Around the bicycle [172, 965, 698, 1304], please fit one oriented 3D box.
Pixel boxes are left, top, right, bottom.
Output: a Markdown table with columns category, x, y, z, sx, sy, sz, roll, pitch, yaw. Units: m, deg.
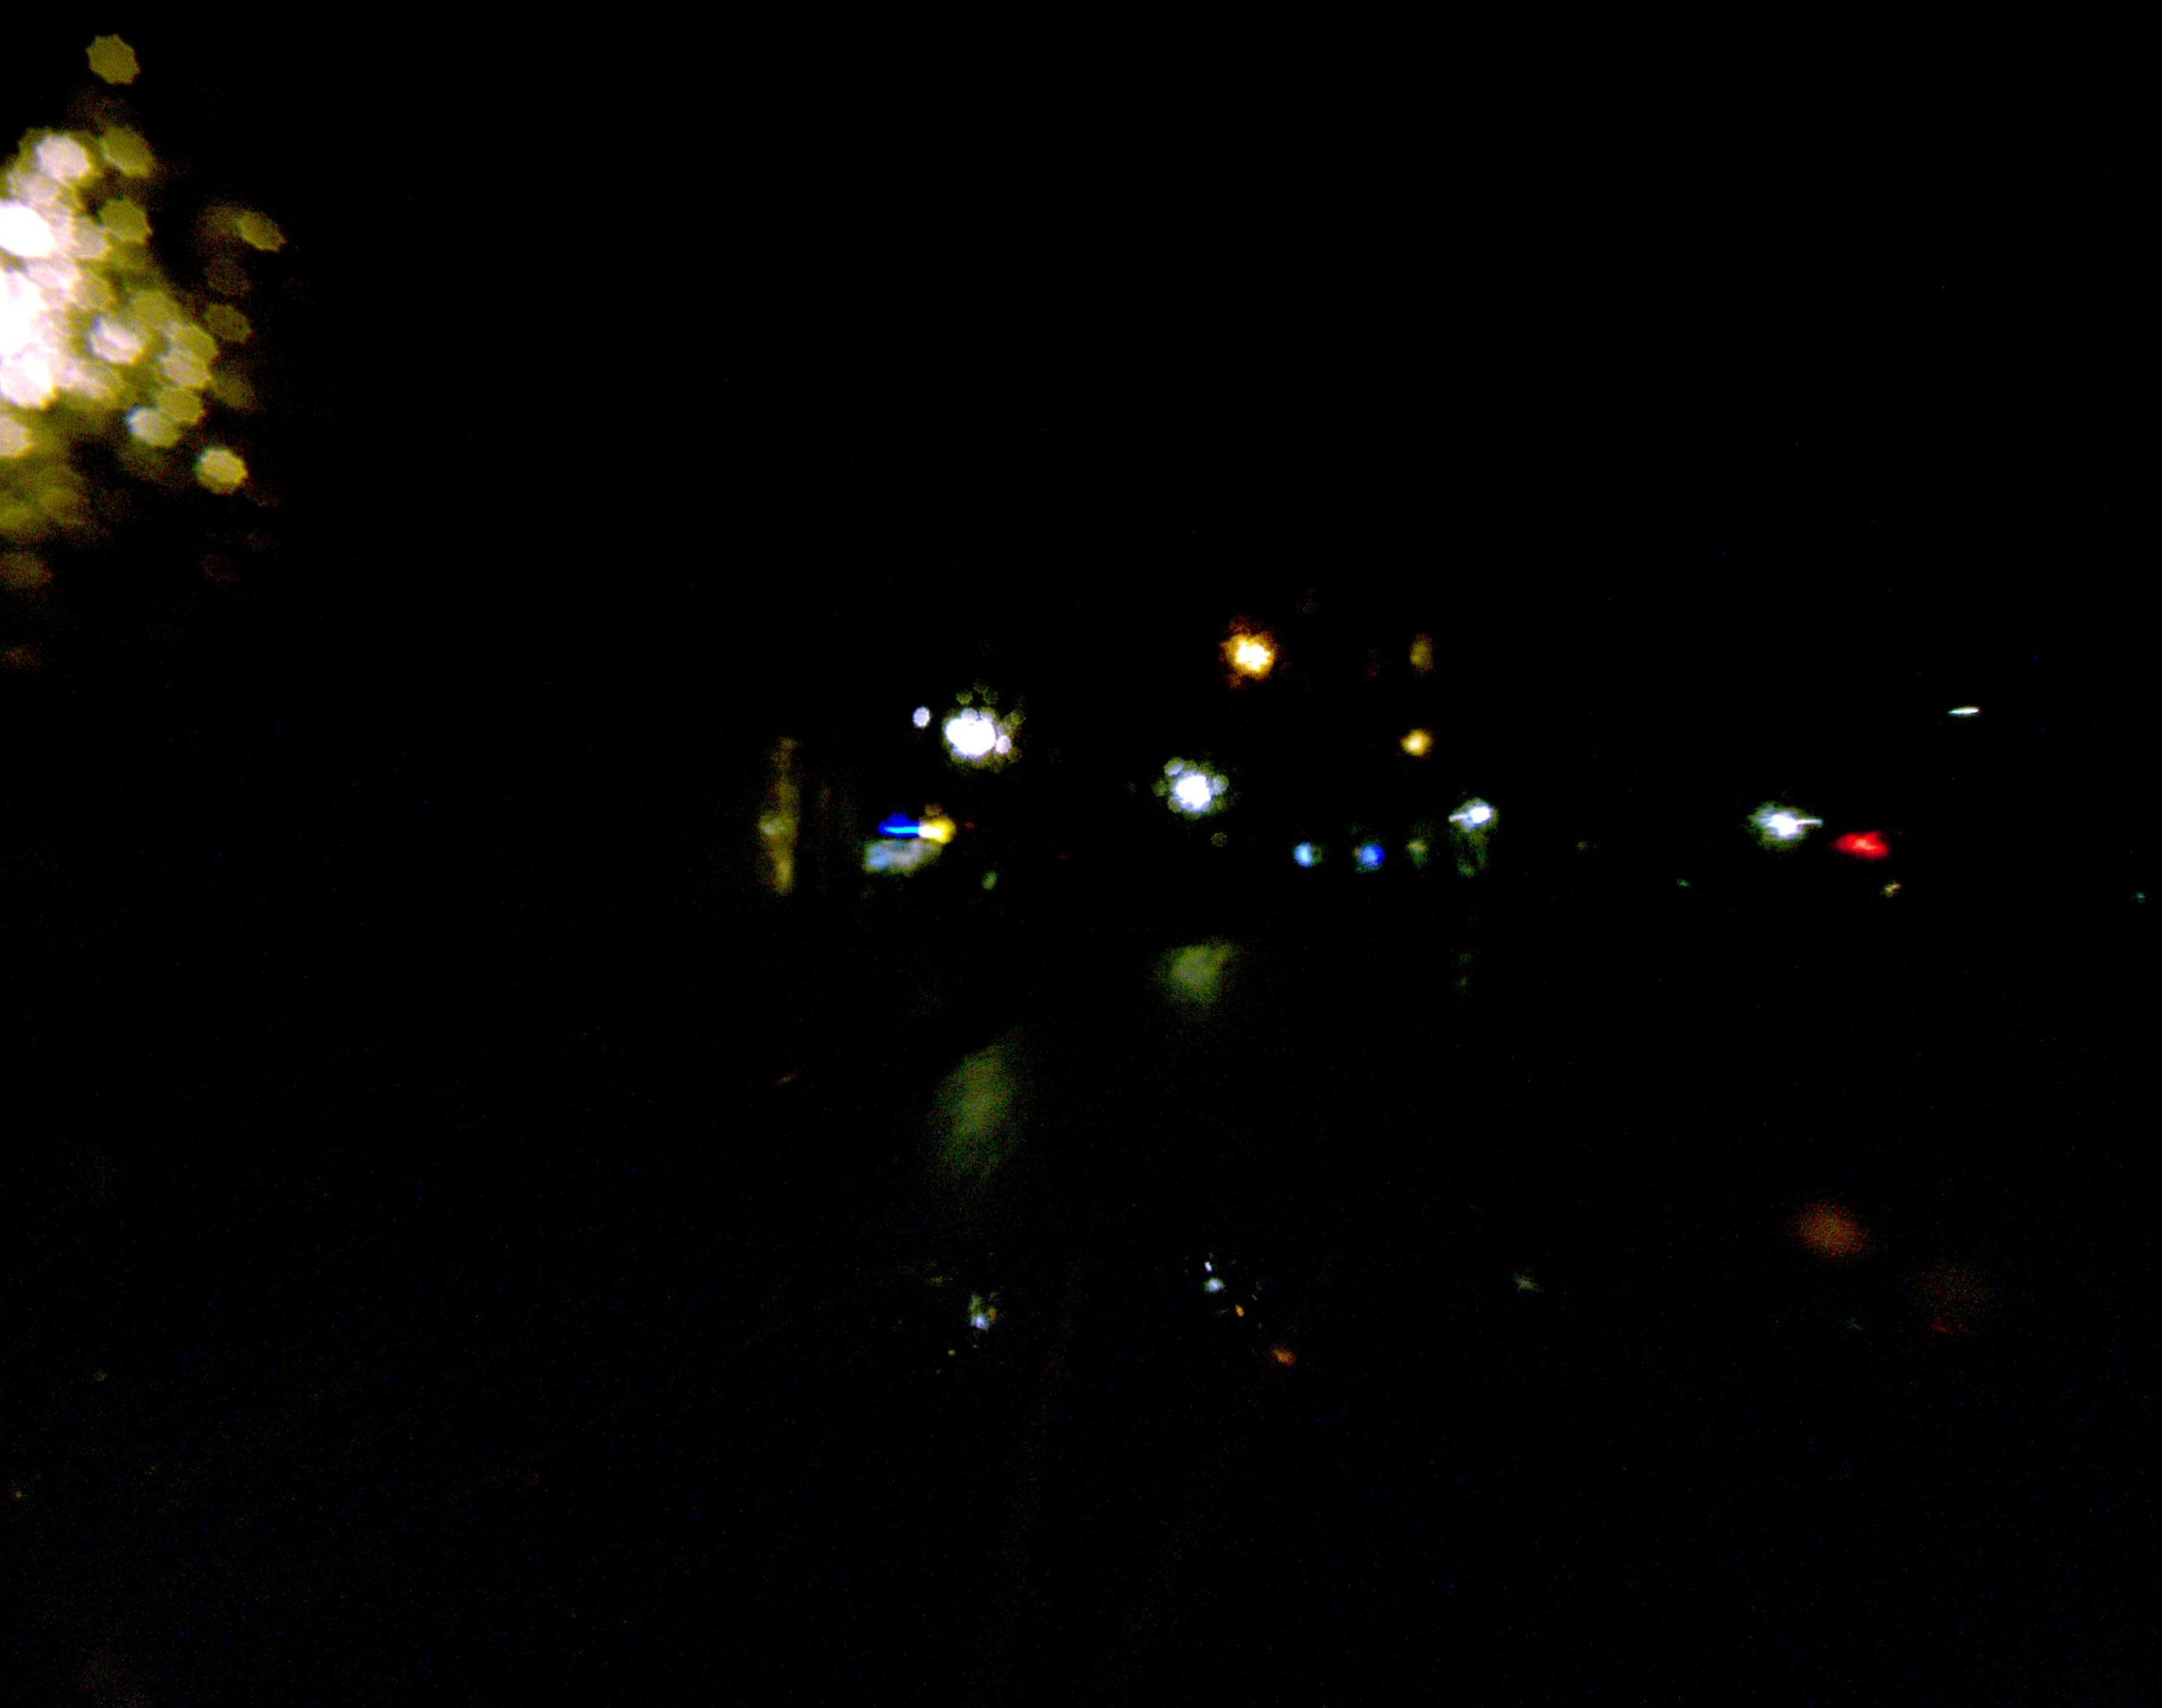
| category | x | y | z | sx | sy | sz | roll | pitch | yaw |
| --- | --- | --- | --- | --- | --- | --- | --- | --- | --- |
| bicycle | -2.684 | 1.059 | 3.191 | 1.971 | 1.001 | 0.643 | 1 | 1 | 14 |

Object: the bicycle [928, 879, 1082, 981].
| category | x | y | z | sx | sy | sz | roll | pitch | yaw |
| --- | --- | --- | --- | --- | --- | --- | --- | --- | --- |
| bicycle | -0.987 | 0.970 | 10.038 | 1.871 | 1.210 | 0.731 | 1 | 1 | 14 |

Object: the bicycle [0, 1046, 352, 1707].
| category | x | y | z | sx | sy | sz | roll | pitch | yaw |
| --- | --- | --- | --- | --- | --- | --- | --- | --- | --- |
| bicycle | -2.840 | 1.062 | 1.800 | 1.971 | 1.001 | 0.643 | 1 | 1 | 14 |

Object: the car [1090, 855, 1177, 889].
| category | x | y | z | sx | sy | sz | roll | pitch | yaw |
| --- | --- | --- | --- | --- | --- | --- | --- | --- | --- |
| car | 2.627 | 0.894 | 39.234 | 1.893 | 1.584 | 4.484 | -2 | 1 | -39 |

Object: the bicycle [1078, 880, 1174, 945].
| category | x | y | z | sx | sy | sz | roll | pitch | yaw |
| --- | --- | --- | --- | --- | --- | --- | --- | --- | --- |
| bicycle | 0.806 | 1.022 | 13.494 | 1.622 | 1.076 | 0.565 | 0 | 3 | 13 |

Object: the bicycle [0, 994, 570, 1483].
| category | x | y | z | sx | sy | sz | roll | pitch | yaw |
| --- | --- | --- | --- | --- | --- | --- | --- | --- | --- |
| bicycle | -2.733 | 1.066 | 2.444 | 1.971 | 1.001 | 0.643 | 1 | 1 | 14 |

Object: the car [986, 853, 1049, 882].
| category | x | y | z | sx | sy | sz | roll | pitch | yaw |
| --- | --- | --- | --- | --- | --- | --- | --- | --- | --- |
| car | -4.027 | 0.795 | 47.652 | 1.885 | 1.694 | 4.275 | -2 | 1 | -37 |

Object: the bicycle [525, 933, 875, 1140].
| category | x | y | z | sx | sy | sz | roll | pitch | yaw |
| --- | --- | --- | --- | --- | --- | --- | --- | --- | --- |
| bicycle | -2.347 | 1.058 | 4.733 | 1.929 | 0.982 | 0.731 | 1 | 1 | 14 |

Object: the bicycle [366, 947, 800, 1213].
| category | x | y | z | sx | sy | sz | roll | pitch | yaw |
| --- | --- | --- | --- | --- | --- | --- | --- | --- | --- |
| bicycle | -2.520 | 1.061 | 3.889 | 1.971 | 1.001 | 0.689 | 1 | 1 | 14 |

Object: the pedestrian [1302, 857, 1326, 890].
| category | x | y | z | sx | sy | sz | roll | pitch | yaw |
| --- | --- | --- | --- | --- | --- | --- | --- | --- | --- |
| pedestrian | 10.582 | 0.892 | 34.546 | 0.635 | 1.484 | 0.766 | -2 | 0 | -37 |

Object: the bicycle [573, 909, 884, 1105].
| category | x | y | z | sx | sy | sz | roll | pitch | yaw |
| --- | --- | --- | --- | --- | --- | --- | --- | --- | --- |
| bicycle | -2.440 | 0.995 | 5.305 | 1.929 | 1.108 | 0.731 | 1 | 1 | 14 |

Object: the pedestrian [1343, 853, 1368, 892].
| category | x | y | z | sx | sy | sz | roll | pitch | yaw |
| --- | --- | --- | --- | --- | --- | --- | --- | --- | --- |
| pedestrian | 11.646 | 0.773 | 32.185 | 0.841 | 1.628 | 0.635 | -2 | 0 | 31 |

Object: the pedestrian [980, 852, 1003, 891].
| category | x | y | z | sx | sy | sz | roll | pitch | yaw |
| --- | --- | --- | --- | --- | --- | --- | --- | --- | --- |
| pedestrian | -4.154 | 0.821 | 35.346 | 0.688 | 1.752 | 1.044 | -1 | -1 | 19 |

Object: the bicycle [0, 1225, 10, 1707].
| category | x | y | z | sx | sy | sz | roll | pitch | yaw |
| --- | --- | --- | --- | --- | --- | --- | --- | --- | --- |
| bicycle | -2.706 | 1.063 | 1.104 | 1.971 | 1.001 | 0.643 | 1 | 1 | 14 |

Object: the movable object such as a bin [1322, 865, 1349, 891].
| category | x | y | z | sx | sy | sz | roll | pitch | yaw |
| --- | --- | --- | --- | --- | --- | --- | --- | --- | --- |
| movable object such as a bin | 10.930 | 1.027 | 32.651 | 0.921 | 1.109 | 0.635 | -2 | 0 | 31 |

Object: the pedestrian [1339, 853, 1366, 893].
| category | x | y | z | sx | sy | sz | roll | pitch | yaw |
| --- | --- | --- | --- | --- | --- | --- | --- | --- | --- |
| pedestrian | 11.310 | 0.784 | 31.632 | 0.872 | 1.628 | 0.635 | -2 | 0 | 31 |
